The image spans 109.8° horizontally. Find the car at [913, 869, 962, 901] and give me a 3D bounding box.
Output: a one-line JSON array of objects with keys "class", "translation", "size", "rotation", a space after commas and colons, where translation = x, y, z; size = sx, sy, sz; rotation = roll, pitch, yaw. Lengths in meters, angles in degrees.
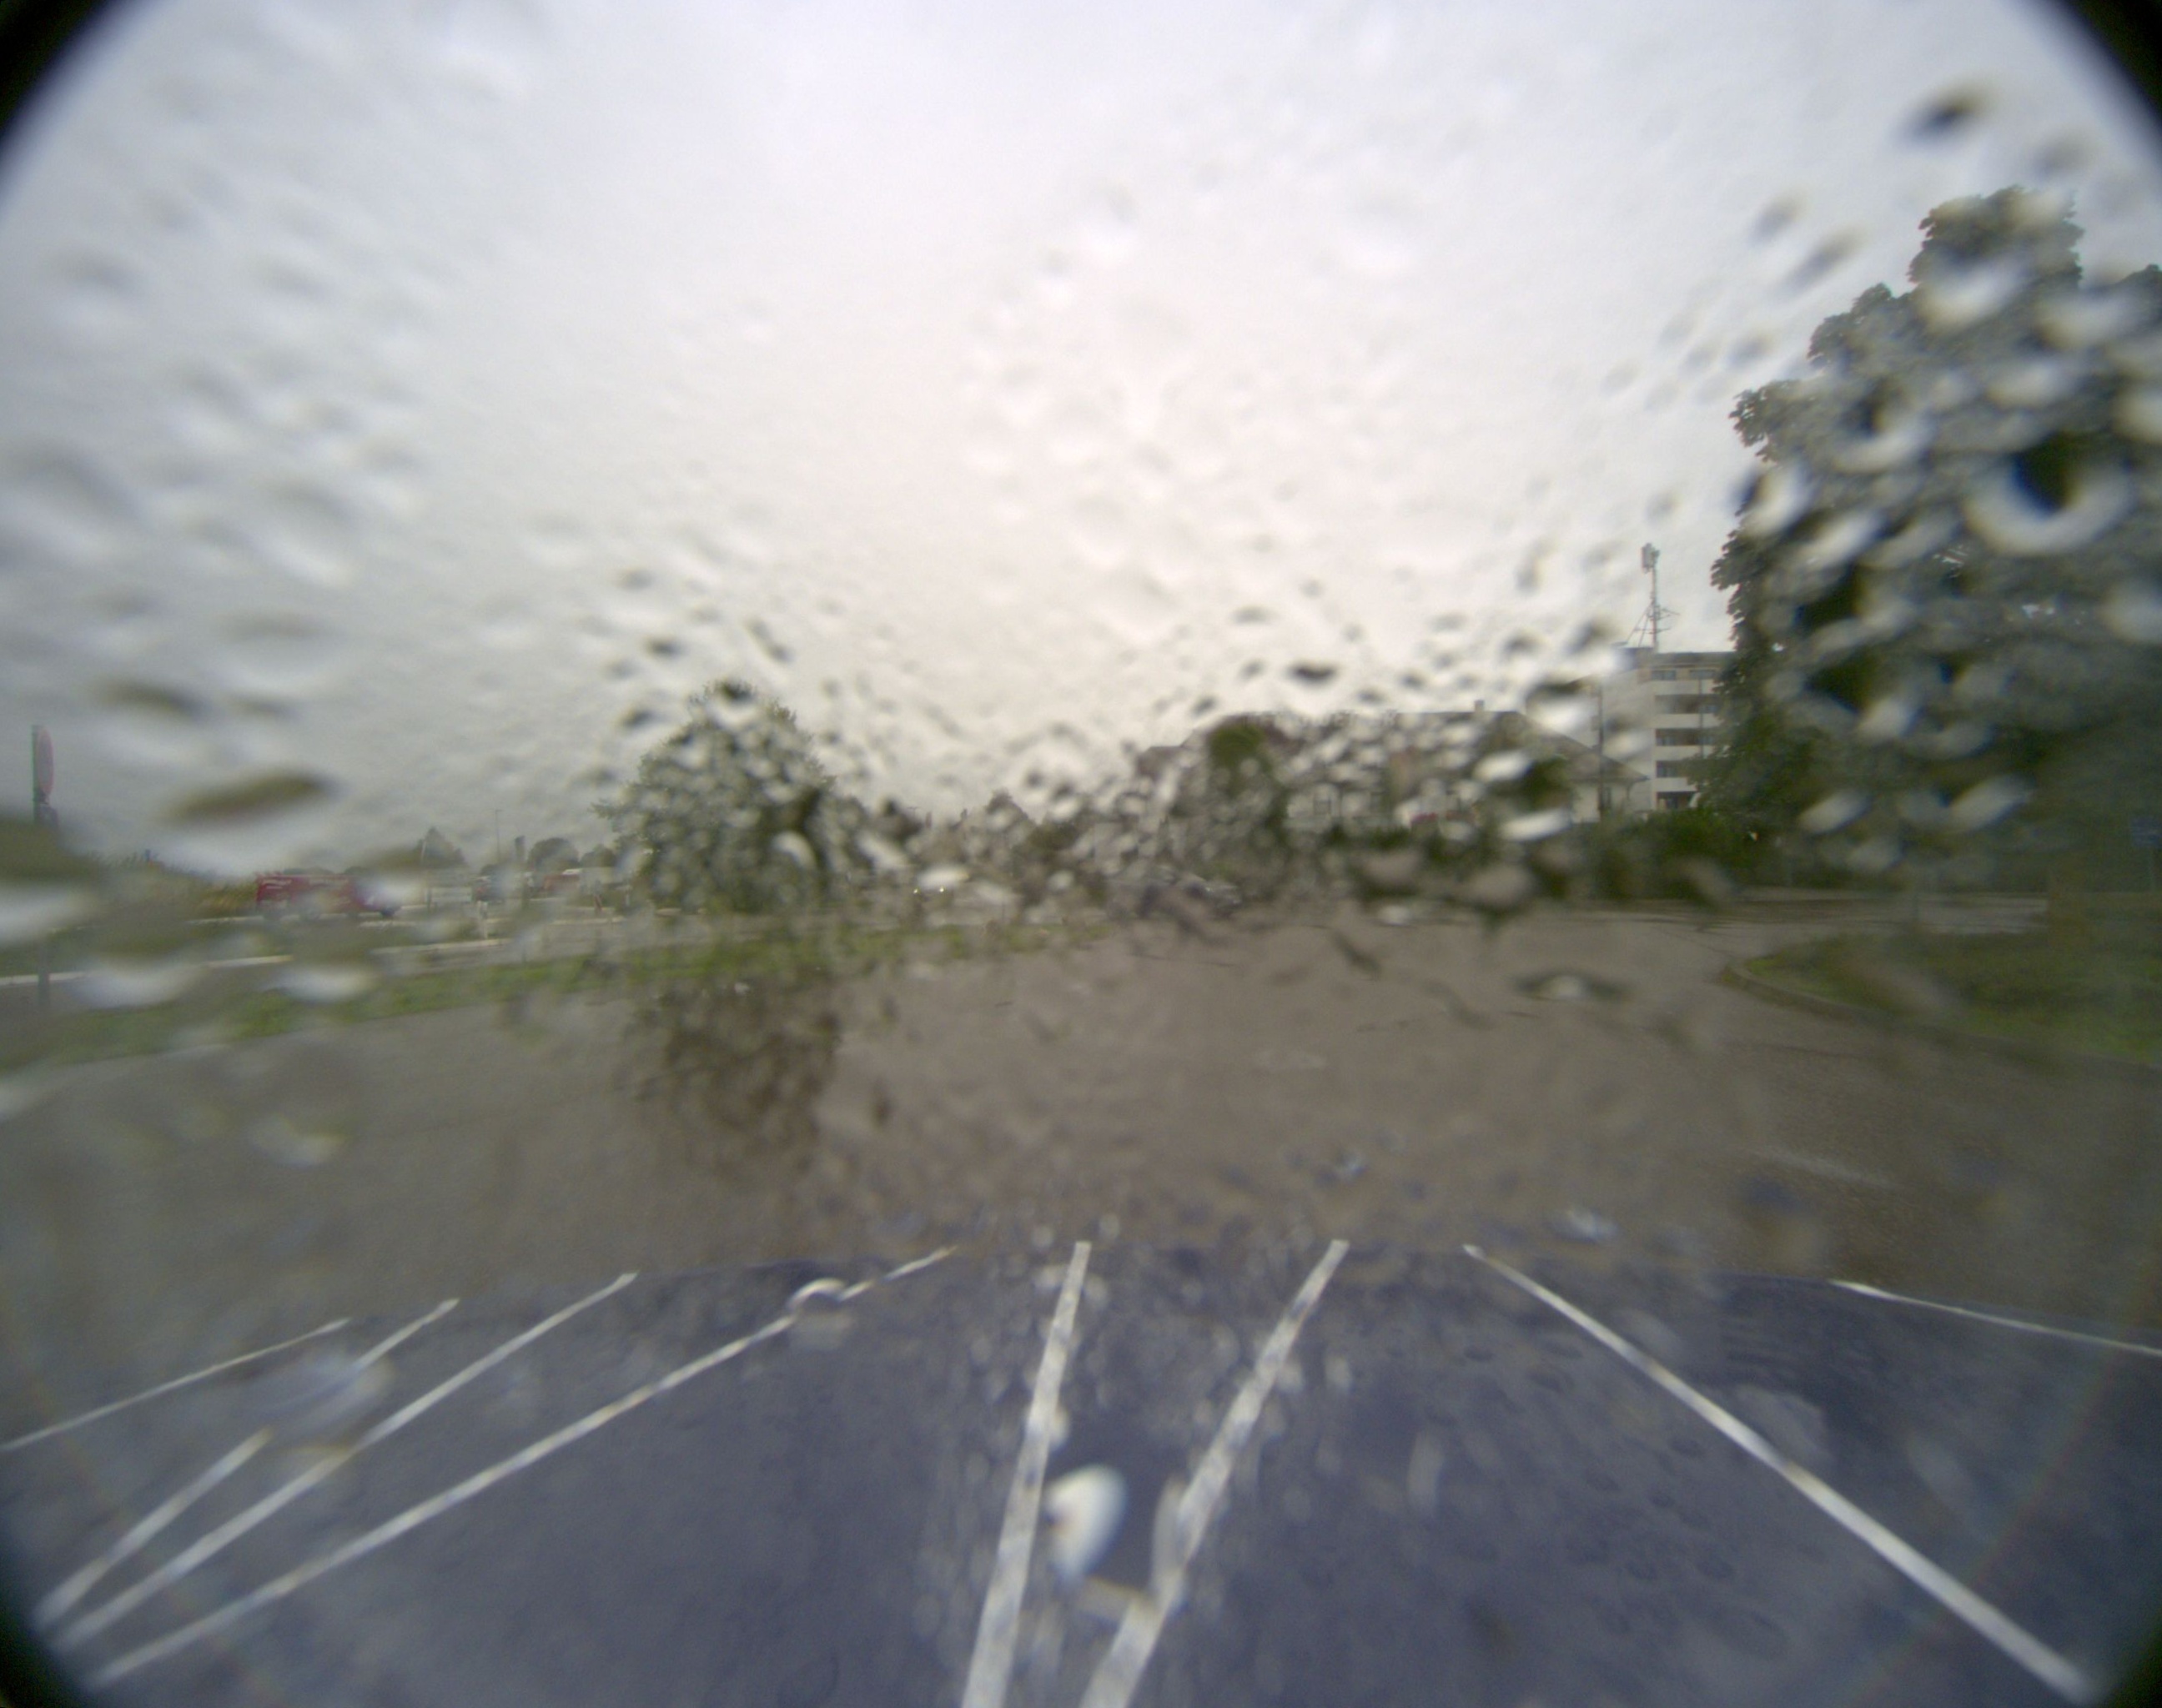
[{"class": "car", "translation": [-7.605, 1.621, 40.623], "size": [1.705, 1.416, 4.360], "rotation": [-3, 0, 0]}]

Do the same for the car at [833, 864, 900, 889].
[{"class": "car", "translation": [-16.784, 1.753, 59.611], "size": [4.605, 1.711, 2.000], "rotation": [-3, 0, 1]}]

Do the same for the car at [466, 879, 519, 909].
[{"class": "car", "translation": [-41.613, 2.826, 53.684], "size": [3.989, 2.002, 2.004], "rotation": [-3, 0, 38]}]

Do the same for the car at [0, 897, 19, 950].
[{"class": "car", "translation": [-34.902, 2.227, 21.938], "size": [1.995, 1.594, 4.530], "rotation": [-2, 0, 22]}]

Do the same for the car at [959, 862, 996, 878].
[{"class": "car", "translation": [-11.044, 1.721, 80.937], "size": [3.878, 1.560, 1.753], "rotation": [-3, -1, 41]}]

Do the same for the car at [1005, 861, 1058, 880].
[{"class": "car", "translation": [-4.168, 1.416, 65.019], "size": [4.357, 1.416, 1.850], "rotation": [-2, 0, 0]}]

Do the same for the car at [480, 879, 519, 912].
[{"class": "car", "translation": [-41.267, 2.912, 53.987], "size": [2.004, 2.002, 3.989], "rotation": [-1, 2, -36]}]

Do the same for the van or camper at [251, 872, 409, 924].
[{"class": "van or camper", "translation": [-32.812, 1.856, 33.429], "size": [1.998, 2.002, 4.848], "rotation": [1, 0, 3]}]

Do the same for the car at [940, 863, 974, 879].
[{"class": "car", "translation": [-12.933, 1.778, 79.256], "size": [1.670, 1.540, 3.716], "rotation": [-2, -1, -44]}]

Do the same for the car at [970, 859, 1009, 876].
[{"class": "car", "translation": [-9.979, 1.512, 83.018], "size": [3.989, 1.717, 1.994], "rotation": [-3, -1, 40]}]

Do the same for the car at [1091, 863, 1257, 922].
[{"class": "car", "translation": [2.732, 1.134, 22.735], "size": [4.488, 1.565, 2.004], "rotation": [-2, -1, 35]}]

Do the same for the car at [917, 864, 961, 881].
[{"class": "car", "translation": [-14.506, 1.924, 77.227], "size": [4.636, 1.541, 2.004], "rotation": [-3, -1, 44]}]

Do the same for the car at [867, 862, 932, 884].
[{"class": "car", "translation": [-16.539, 1.702, 69.560], "size": [5.373, 1.711, 2.000], "rotation": [-3, 0, 1]}]
